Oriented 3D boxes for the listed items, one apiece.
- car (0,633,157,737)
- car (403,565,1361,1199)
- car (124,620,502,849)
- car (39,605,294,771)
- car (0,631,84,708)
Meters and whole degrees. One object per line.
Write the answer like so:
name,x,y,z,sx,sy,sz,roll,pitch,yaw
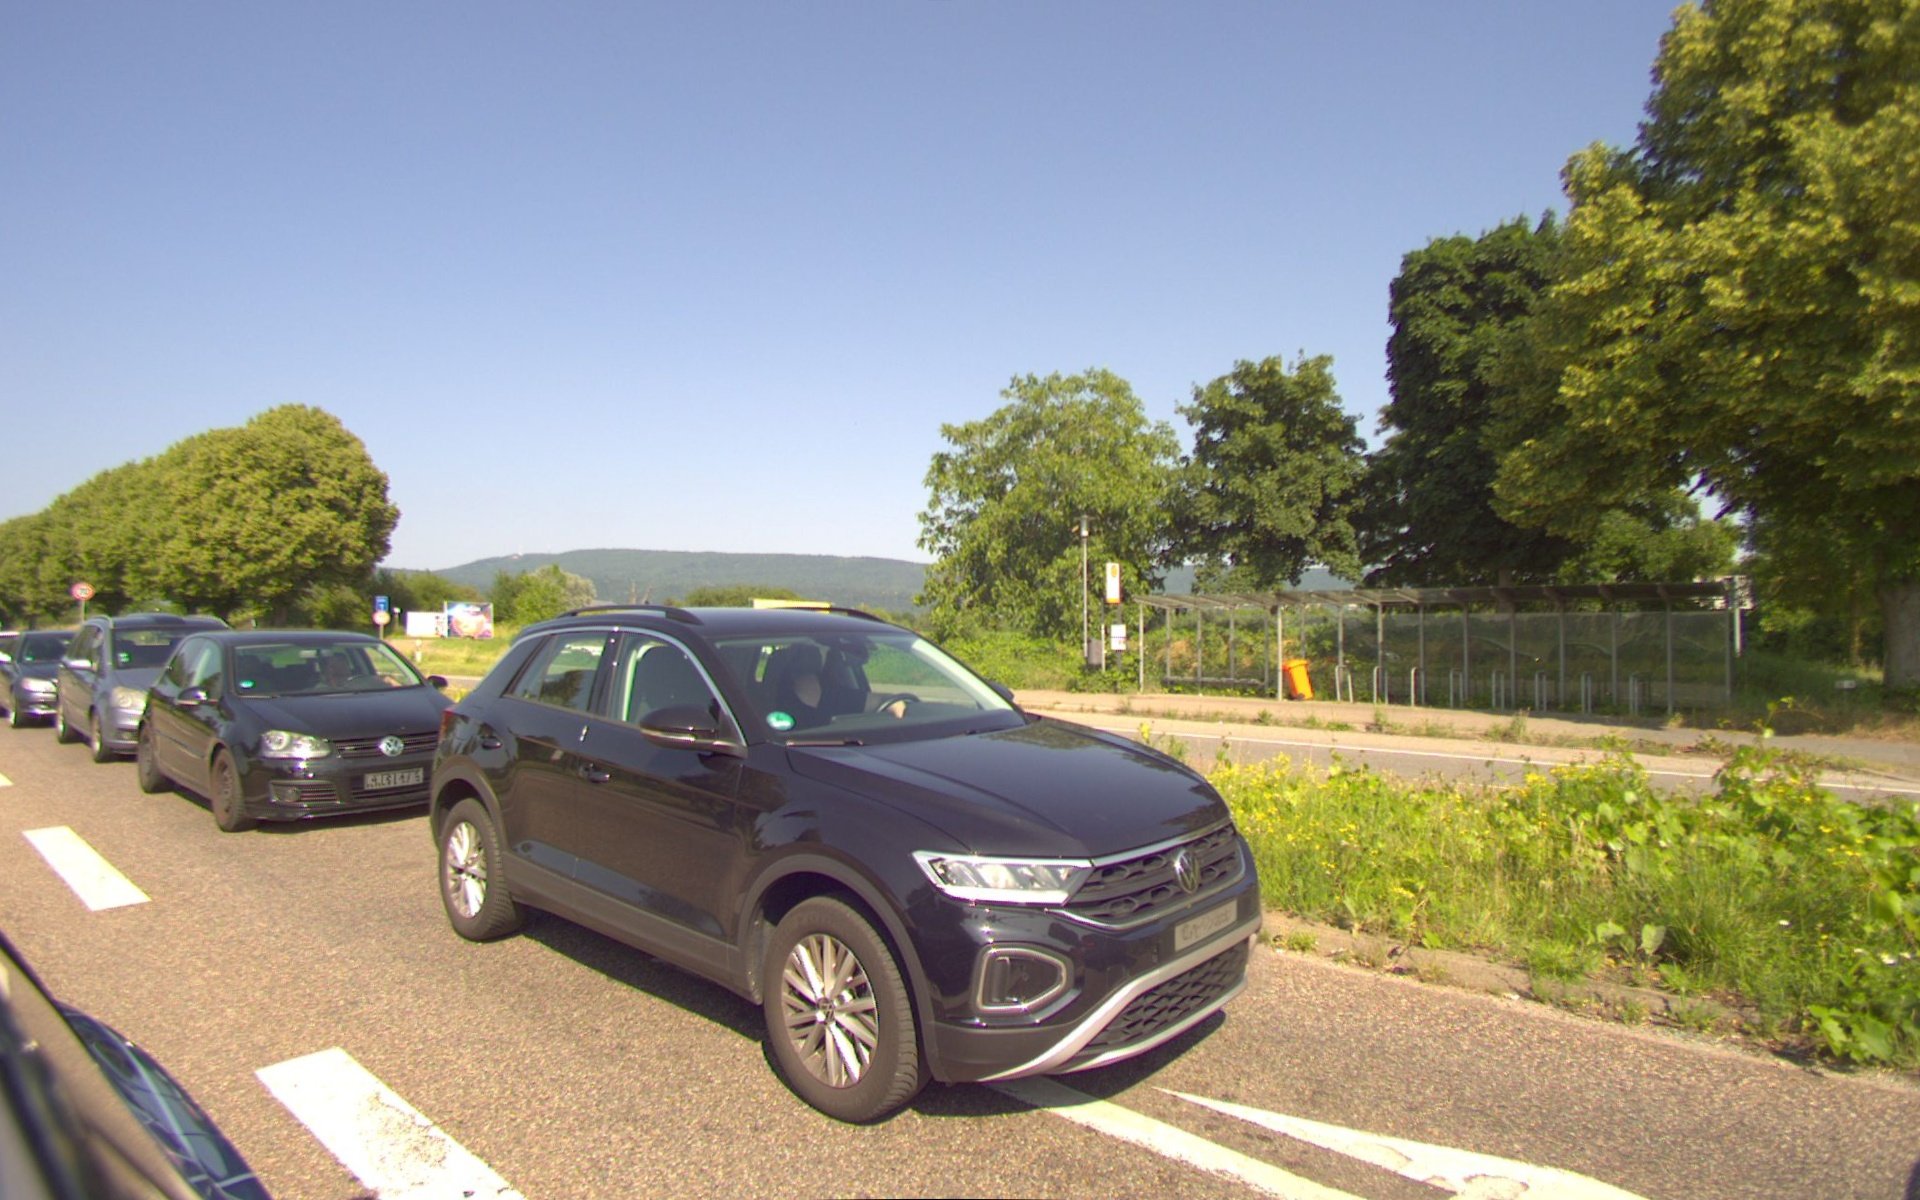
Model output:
car,-14.458,1.261,16.276,4.353,1.421,1.696,-2,-2,42
car,-0.679,0.762,4.315,4.096,1.559,1.710,-2,-2,42
car,-5.612,0.936,8.565,4.096,1.486,1.648,-2,-2,42
car,-9.817,0.956,12.390,4.355,1.685,1.723,-2,-2,42
car,-19.667,1.374,20.886,4.639,1.436,1.784,-2,-2,41
